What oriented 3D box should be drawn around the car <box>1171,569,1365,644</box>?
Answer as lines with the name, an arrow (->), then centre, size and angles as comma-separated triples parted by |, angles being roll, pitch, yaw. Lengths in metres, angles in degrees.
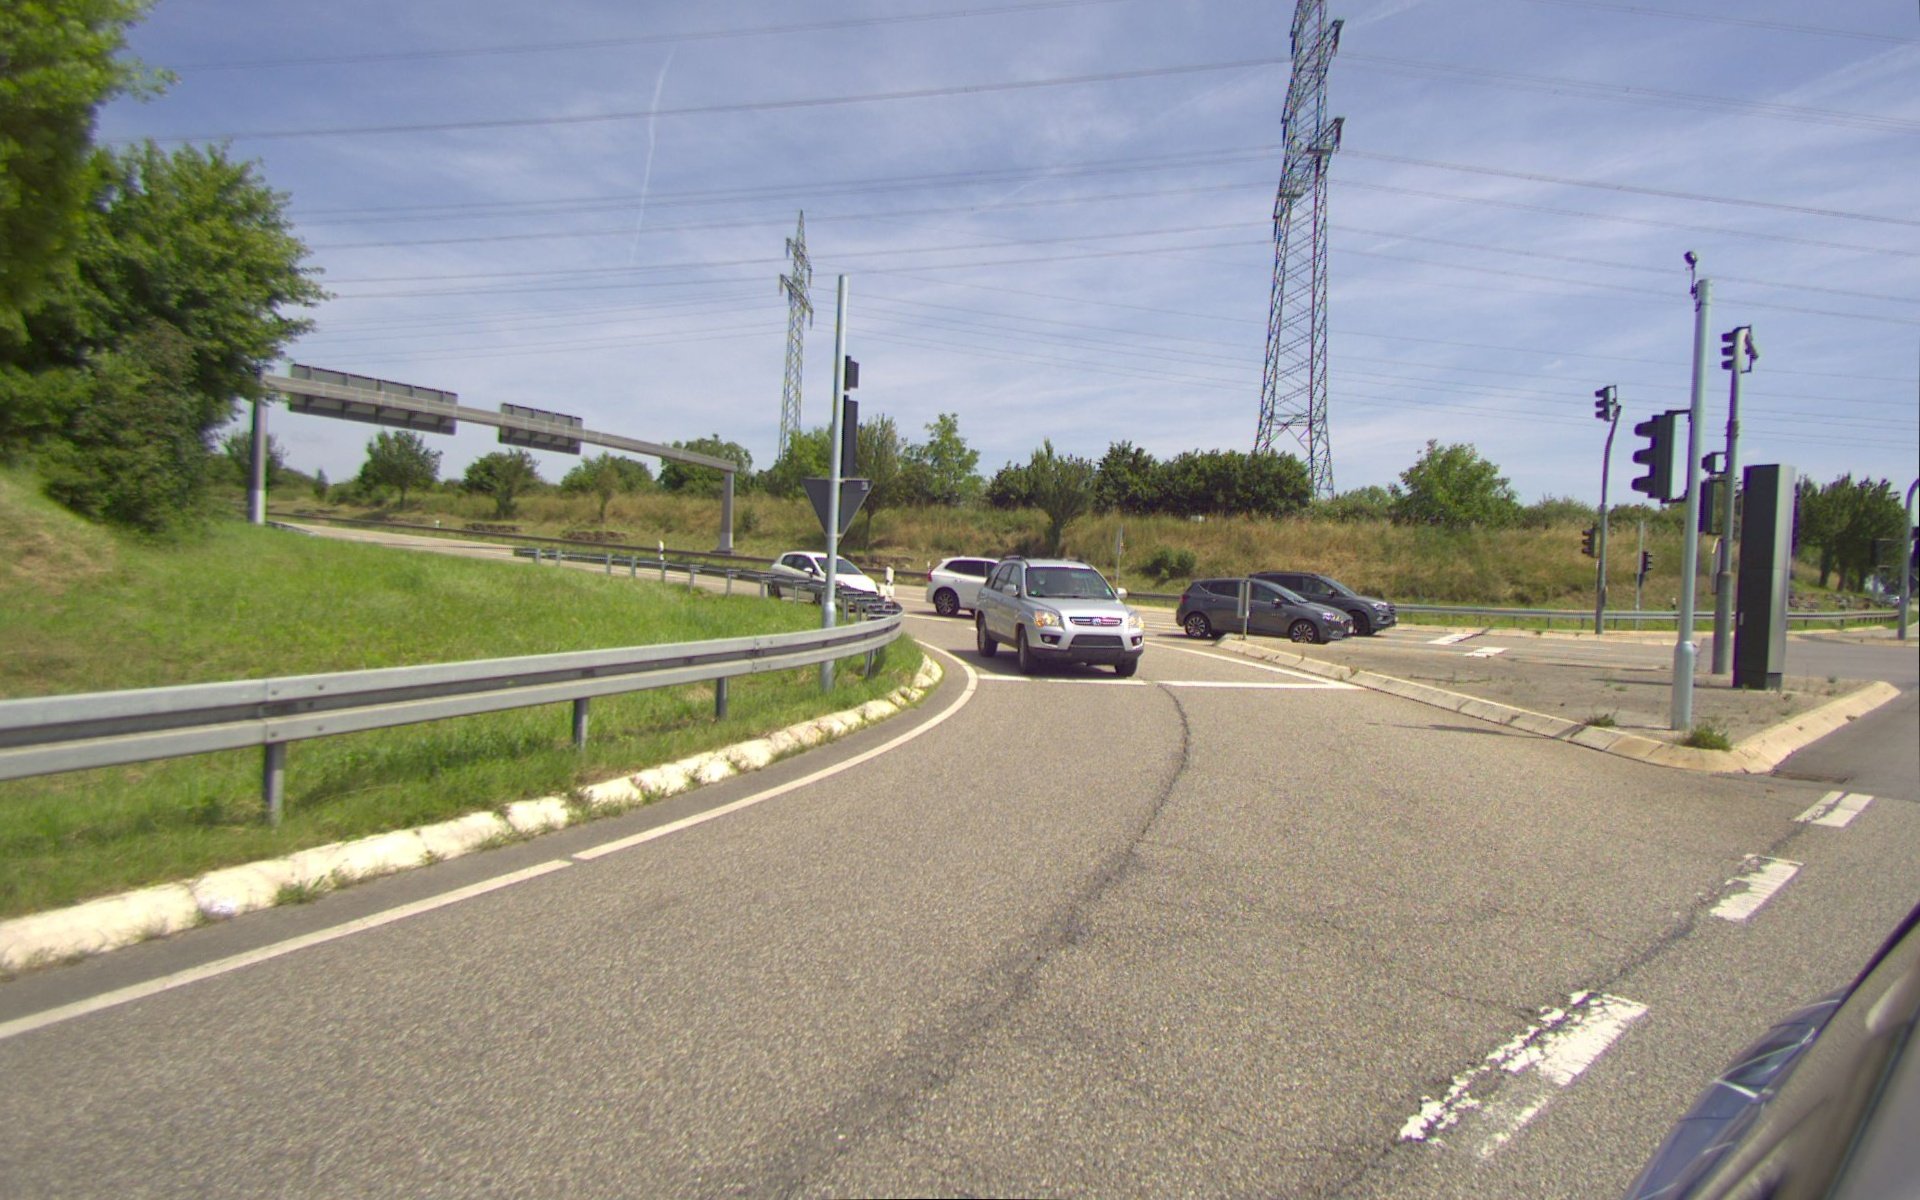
car -> 7.112, 0.093, 23.480 | 3.972, 1.529, 1.696 | 3, 2, 33

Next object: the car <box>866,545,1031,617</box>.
car -> -0.373, -0.568, 28.242 | 4.348, 1.611, 1.757 | 6, 4, 36

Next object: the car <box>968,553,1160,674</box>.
car -> 1.485, 0.115, 16.248 | 1.798, 1.675, 4.382 | 1, 2, -11

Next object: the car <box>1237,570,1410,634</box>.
car -> 10.319, 0.002, 28.879 | 4.343, 1.529, 1.696 | 4, 3, 34

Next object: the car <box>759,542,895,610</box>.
car -> -3.748, -0.702, 28.041 | 1.751, 1.619, 3.994 | 0, 4, -42
